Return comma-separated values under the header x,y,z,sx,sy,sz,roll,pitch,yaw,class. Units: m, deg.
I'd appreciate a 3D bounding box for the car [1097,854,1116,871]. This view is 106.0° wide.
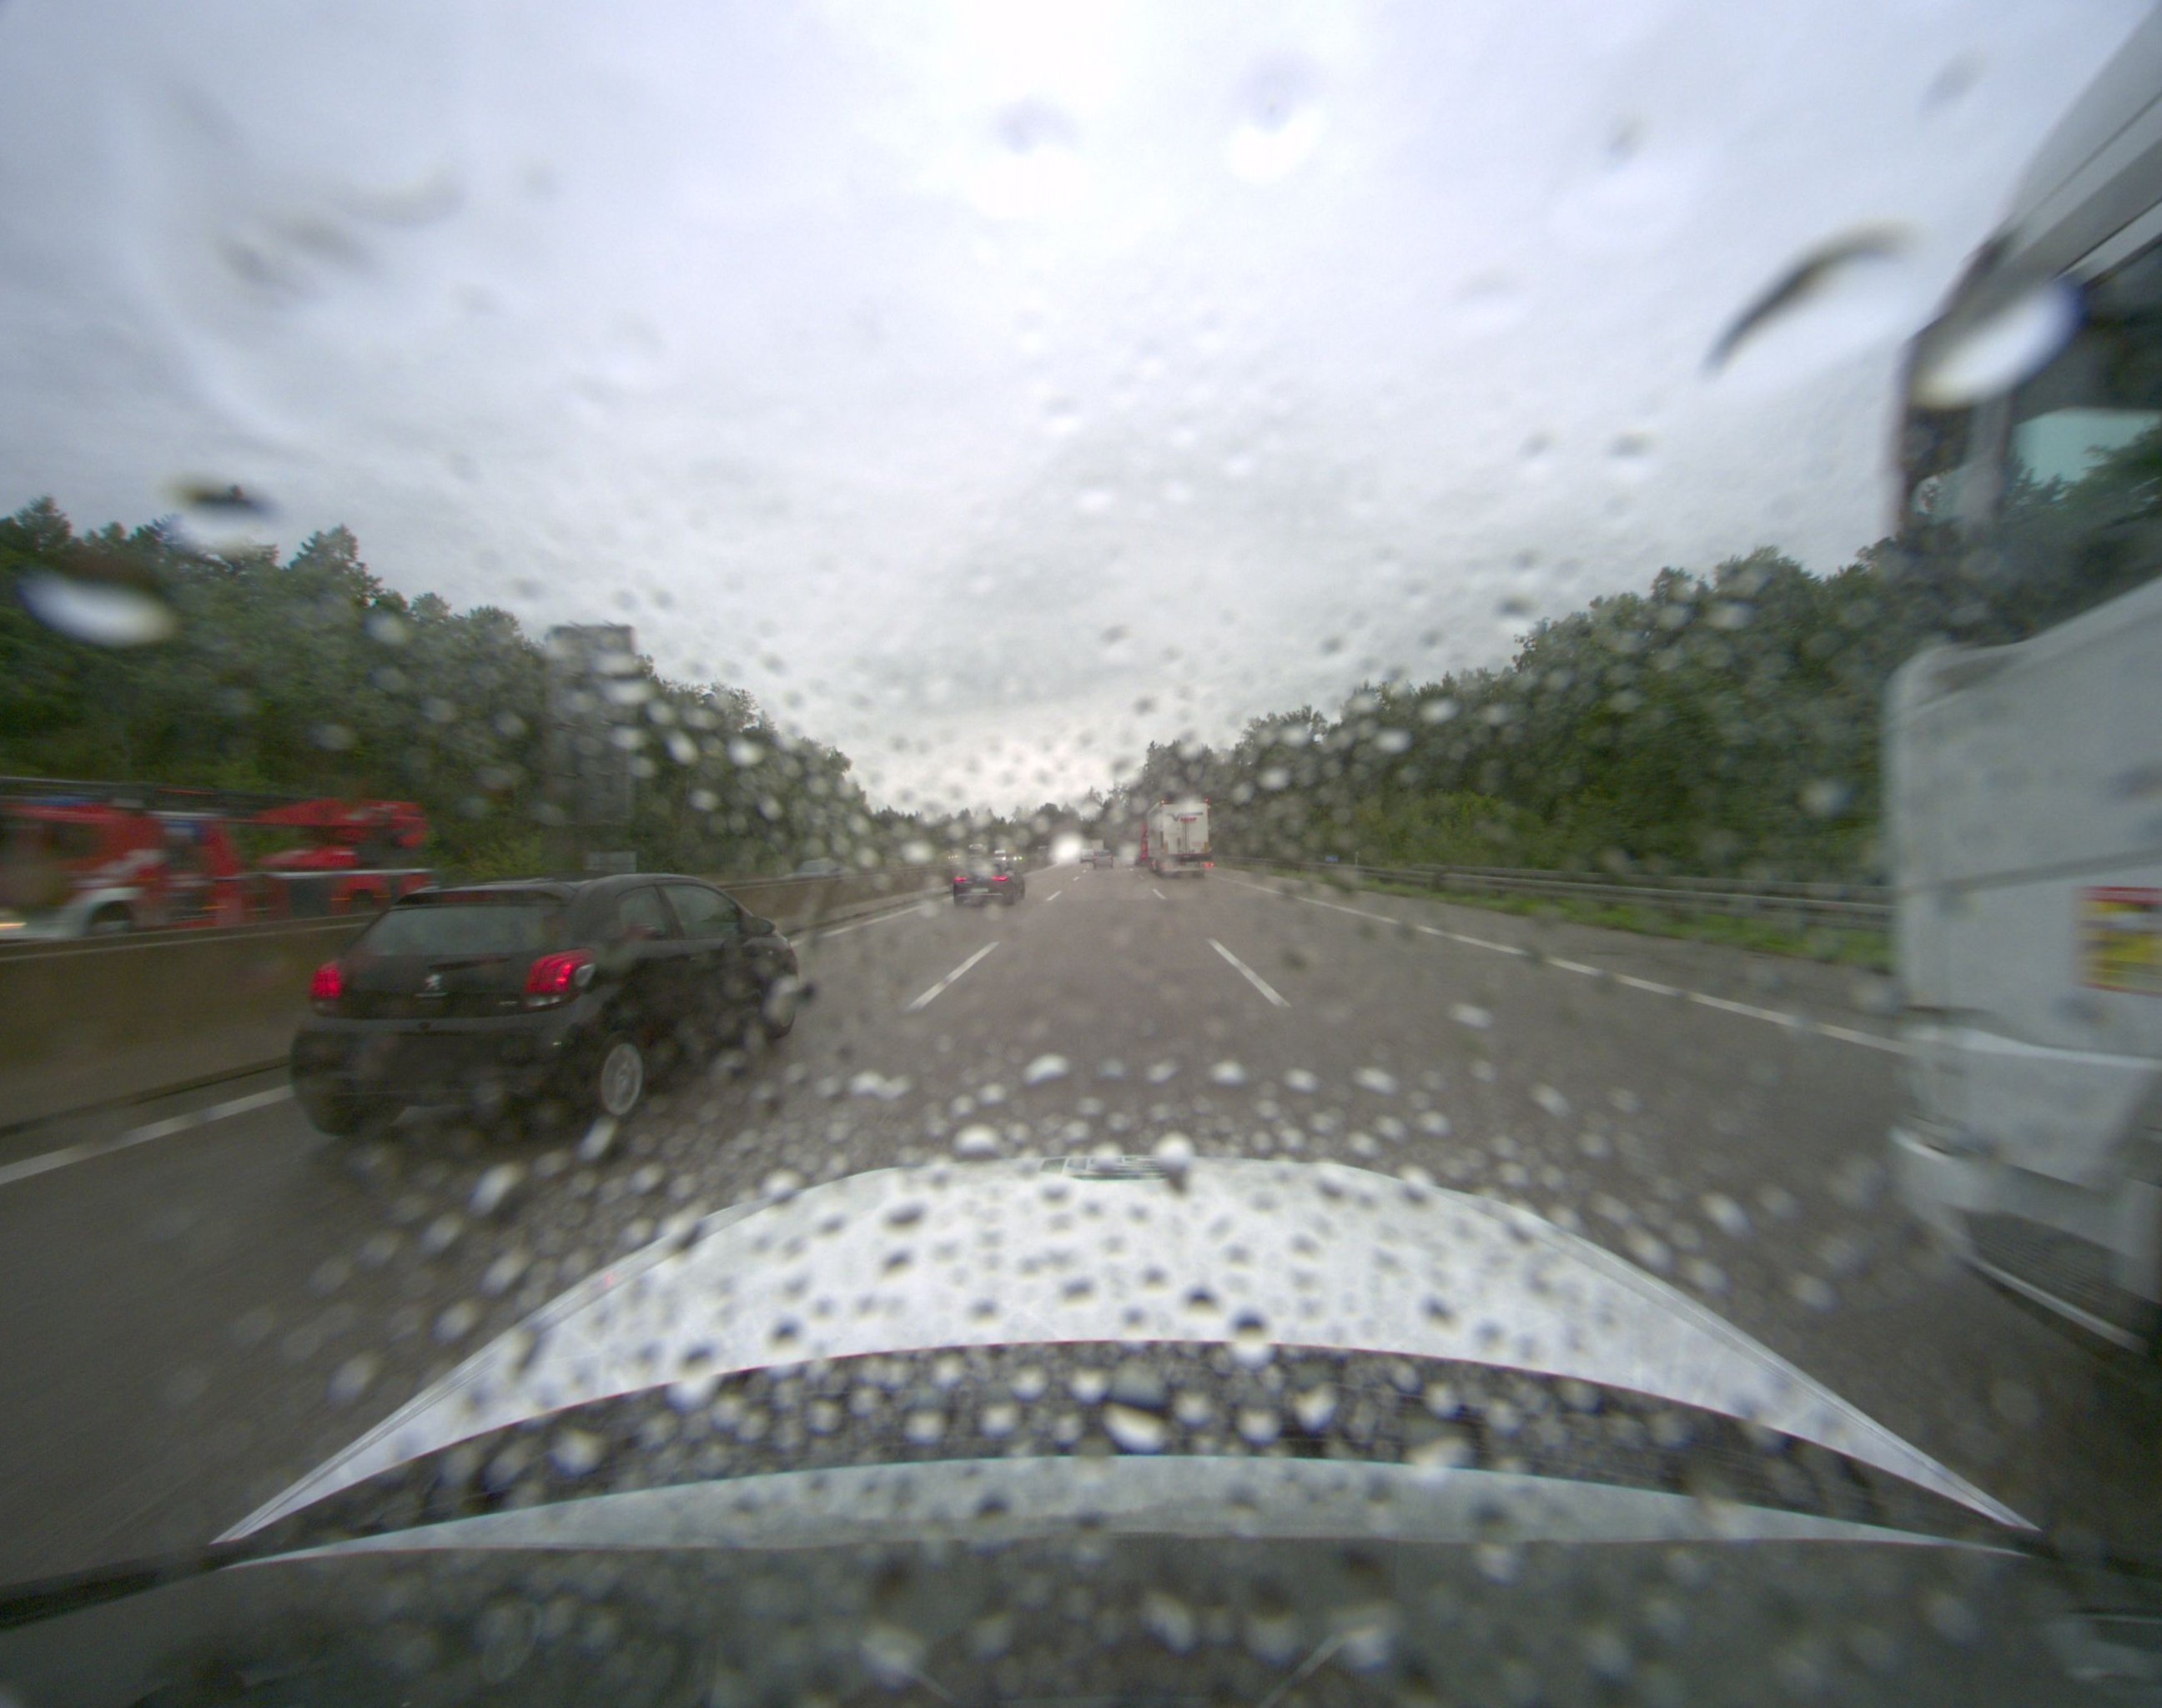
x,y,z,sx,sy,sz,roll,pitch,yaw,class
2.207,0.719,71.136,1.549,1.351,3.682,-1,0,-1,car

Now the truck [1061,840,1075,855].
x,y,z,sx,sy,sz,roll,pitch,yaw,class
-3.796,-1.823,235.238,3.363,4.131,10.421,-3,1,-4,truck

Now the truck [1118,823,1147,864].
x,y,z,sx,sy,sz,roll,pitch,yaw,class
5.264,-1.069,84.069,2.368,3.953,6.158,-1,0,-1,truck

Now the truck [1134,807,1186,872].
x,y,z,sx,sy,sz,roll,pitch,yaw,class
5.333,-0.952,56.041,2.790,4.103,5.966,-3,0,0,truck

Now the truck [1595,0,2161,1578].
x,y,z,sx,sy,sz,roll,pitch,yaw,class
3.391,-0.627,0.401,2.711,4.041,5.754,-1,0,1,truck

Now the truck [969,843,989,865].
x,y,z,sx,sy,sz,roll,pitch,yaw,class
-17.658,0.011,142.047,2.558,3.667,10.479,-3,0,-3,truck

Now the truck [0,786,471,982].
x,y,z,sx,sy,sz,roll,pitch,yaw,class
-18.542,0.482,17.504,2.423,3.174,10.667,-2,0,2,truck

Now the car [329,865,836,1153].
x,y,z,sx,sy,sz,roll,pitch,yaw,class
-3.274,0.870,6.304,1.679,1.462,3.681,-1,0,-1,car

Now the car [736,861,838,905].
x,y,z,sx,sy,sz,roll,pitch,yaw,class
-11.066,1.047,31.102,1.986,1.390,4.754,-2,0,2,car

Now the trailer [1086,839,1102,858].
x,y,z,sx,sy,sz,roll,pitch,yaw,class
2.870,-1.364,184.020,2.414,4.068,12.041,-3,1,-3,trailer

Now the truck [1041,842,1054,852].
x,y,z,sx,sy,sz,roll,pitch,yaw,class
-9.744,-2.053,239.358,3.080,2.905,7.883,-2,2,-7,truck

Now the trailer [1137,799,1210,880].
x,y,z,sx,sy,sz,roll,pitch,yaw,class
5.293,-0.807,49.420,2.725,4.103,13.682,-3,0,0,trailer

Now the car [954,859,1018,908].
x,y,z,sx,sy,sz,roll,pitch,yaw,class
-2.939,0.886,25.802,1.548,1.351,3.684,-1,0,1,car

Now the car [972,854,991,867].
x,y,z,sx,sy,sz,roll,pitch,yaw,class
-12.767,0.875,104.537,1.602,1.554,4.644,-2,0,2,car

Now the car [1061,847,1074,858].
x,y,z,sx,sy,sz,roll,pitch,yaw,class
-2.666,-0.259,158.946,1.991,2.059,3.992,-4,0,-6,car

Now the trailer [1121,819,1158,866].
x,y,z,sx,sy,sz,roll,pitch,yaw,class
5.337,-1.035,76.207,2.363,3.953,12.516,-1,0,-1,trailer

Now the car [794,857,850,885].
x,y,z,sx,sy,sz,roll,pitch,yaw,class
-17.534,1.136,55.354,1.986,1.699,4.976,-2,0,2,car

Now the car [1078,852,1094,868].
x,y,z,sx,sy,sz,roll,pitch,yaw,class
0.682,0.729,109.862,1.722,2.013,3.651,-3,0,-4,car
